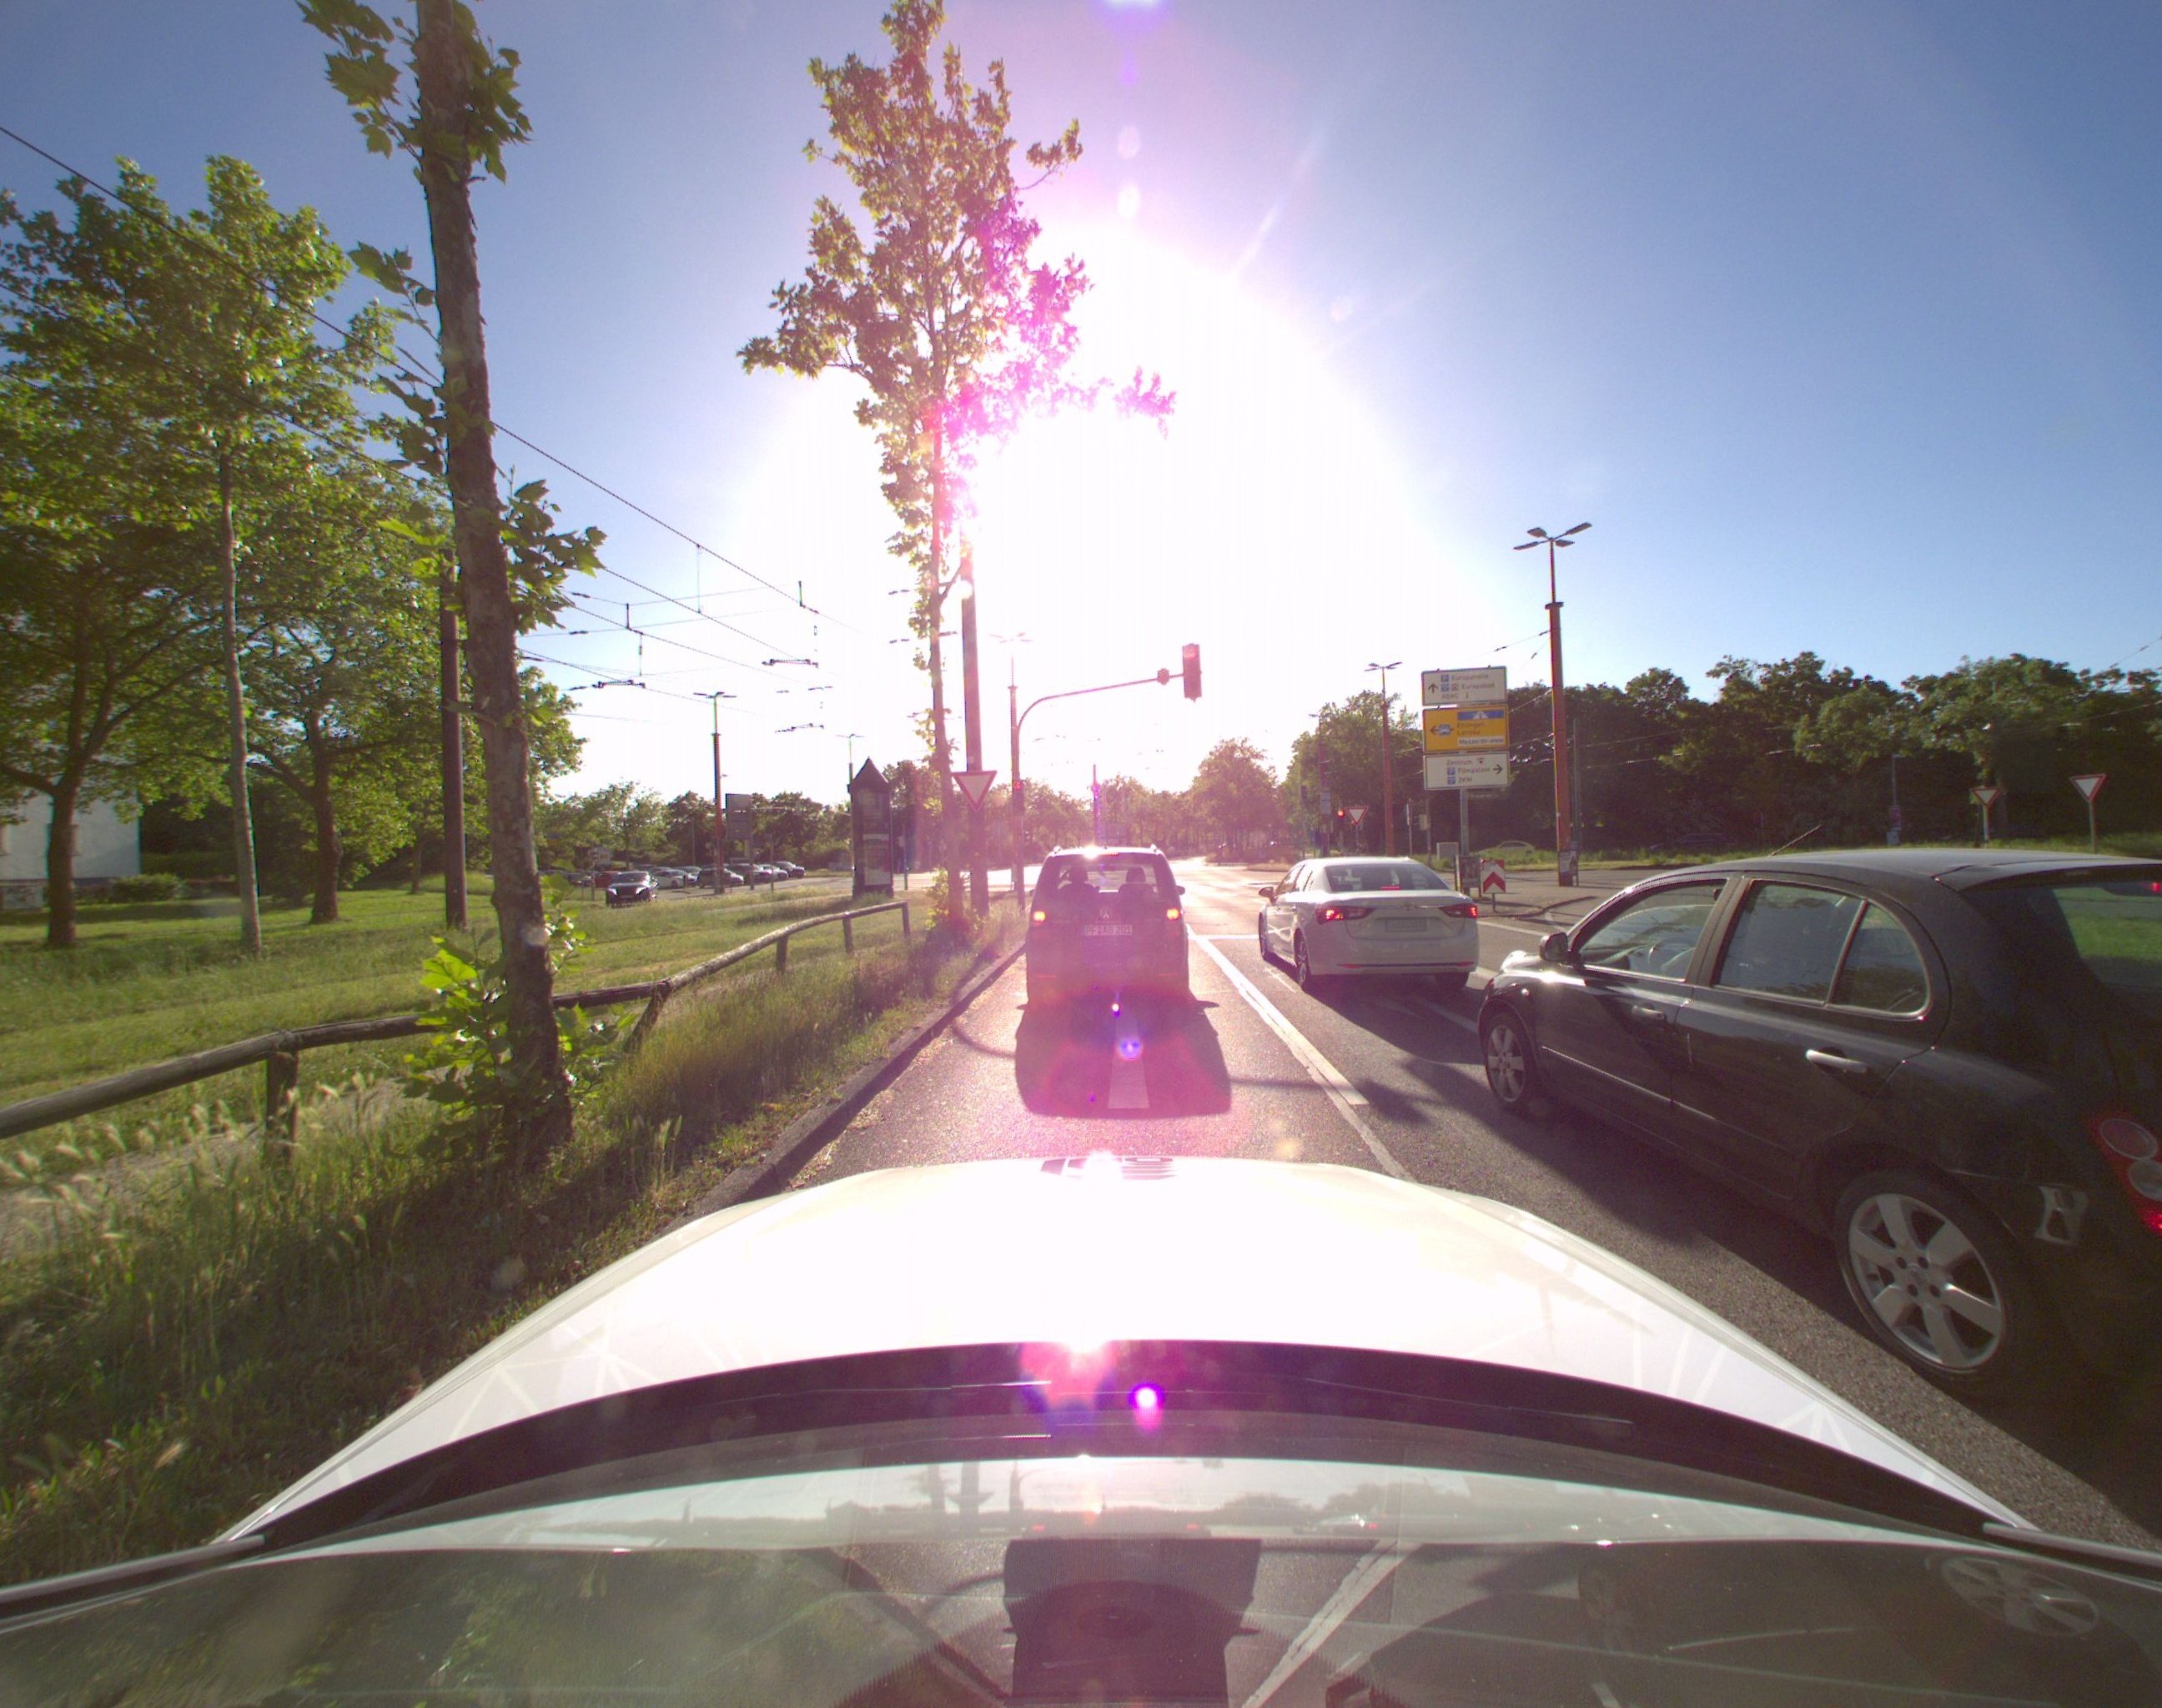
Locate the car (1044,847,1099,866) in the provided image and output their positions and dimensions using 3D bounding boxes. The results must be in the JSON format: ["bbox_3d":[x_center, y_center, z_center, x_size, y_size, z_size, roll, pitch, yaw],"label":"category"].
[{"bbox_3d":[-0.843,0.243,72.158,4.616,1.625,1.667,-1,0,28],"label":"car"}]

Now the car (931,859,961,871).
[{"bbox_3d":[-16.483,1.318,99.625,1.636,1.403,4.155,-1,0,23],"label":"car"}]

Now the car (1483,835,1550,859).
[{"bbox_3d":[31.363,-0.499,58.718,4.164,1.681,1.667,-1,0,28],"label":"car"}]

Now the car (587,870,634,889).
[{"bbox_3d":[-39.441,2.152,68.253,4.145,1.520,1.667,-1,0,32],"label":"car"}]

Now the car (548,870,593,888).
[{"bbox_3d":[-45.078,2.223,71.904,4.145,1.520,1.667,-1,0,32],"label":"car"}]

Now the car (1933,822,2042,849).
[{"bbox_3d":[52.505,-1.035,47.250,3.877,1.457,1.667,-1,0,29],"label":"car"}]

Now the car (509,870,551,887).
[{"bbox_3d":[-51.125,2.263,75.524,4.145,1.520,1.667,-1,0,32],"label":"car"}]

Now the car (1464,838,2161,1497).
[{"bbox_3d":[3.177,0.693,3.490,1.570,1.440,3.443,0,-1,2],"label":"car"}]

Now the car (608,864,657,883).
[{"bbox_3d":[-40.455,1.730,73.433,4.583,1.647,1.767,-1,0,32],"label":"car"}]

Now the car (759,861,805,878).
[{"bbox_3d":[-26.729,1.383,72.813,4.102,1.415,1.553,-1,0,28],"label":"car"}]

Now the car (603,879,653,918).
[{"bbox_3d":[-21.621,2.083,38.999,1.659,1.618,4.260,-1,0,-24],"label":"car"}]

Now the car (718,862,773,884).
[{"bbox_3d":[-26.926,1.518,65.352,4.583,1.647,1.667,-1,0,32],"label":"car"}]

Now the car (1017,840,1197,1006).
[{"bbox_3d":[0.363,0.687,10.084,1.731,1.602,4.329,0,-1,3],"label":"car"}]

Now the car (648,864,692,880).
[{"bbox_3d":[-38.197,1.670,75.709,4.102,1.415,1.553,-1,0,28],"label":"car"}]

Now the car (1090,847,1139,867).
[{"bbox_3d":[3.051,0.261,74.133,4.080,1.750,1.666,-1,0,26],"label":"car"}]

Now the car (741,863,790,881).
[{"bbox_3d":[-26.833,1.525,69.189,4.102,1.415,1.553,-1,0,28],"label":"car"}]

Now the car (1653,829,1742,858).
[{"bbox_3d":[38.286,-0.635,50.699,4.165,1.681,1.666,-1,0,25],"label":"car"}]

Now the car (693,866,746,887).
[{"bbox_3d":[-27.330,1.696,61.570,3.793,1.441,1.667,-1,0,29],"label":"car"}]

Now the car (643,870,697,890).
[{"bbox_3d":[-32.664,2.076,64.734,4.577,1.520,1.667,-1,0,32],"label":"car"}]

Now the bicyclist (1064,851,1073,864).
[{"bbox_3d":[-1.857,0.480,120.619,0.969,1.904,1.055,-2,0,14],"label":"bicyclist"}]

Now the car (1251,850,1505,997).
[{"bbox_3d":[3.370,0.706,10.188,1.792,1.440,4.329,0,-1,3],"label":"car"}]
